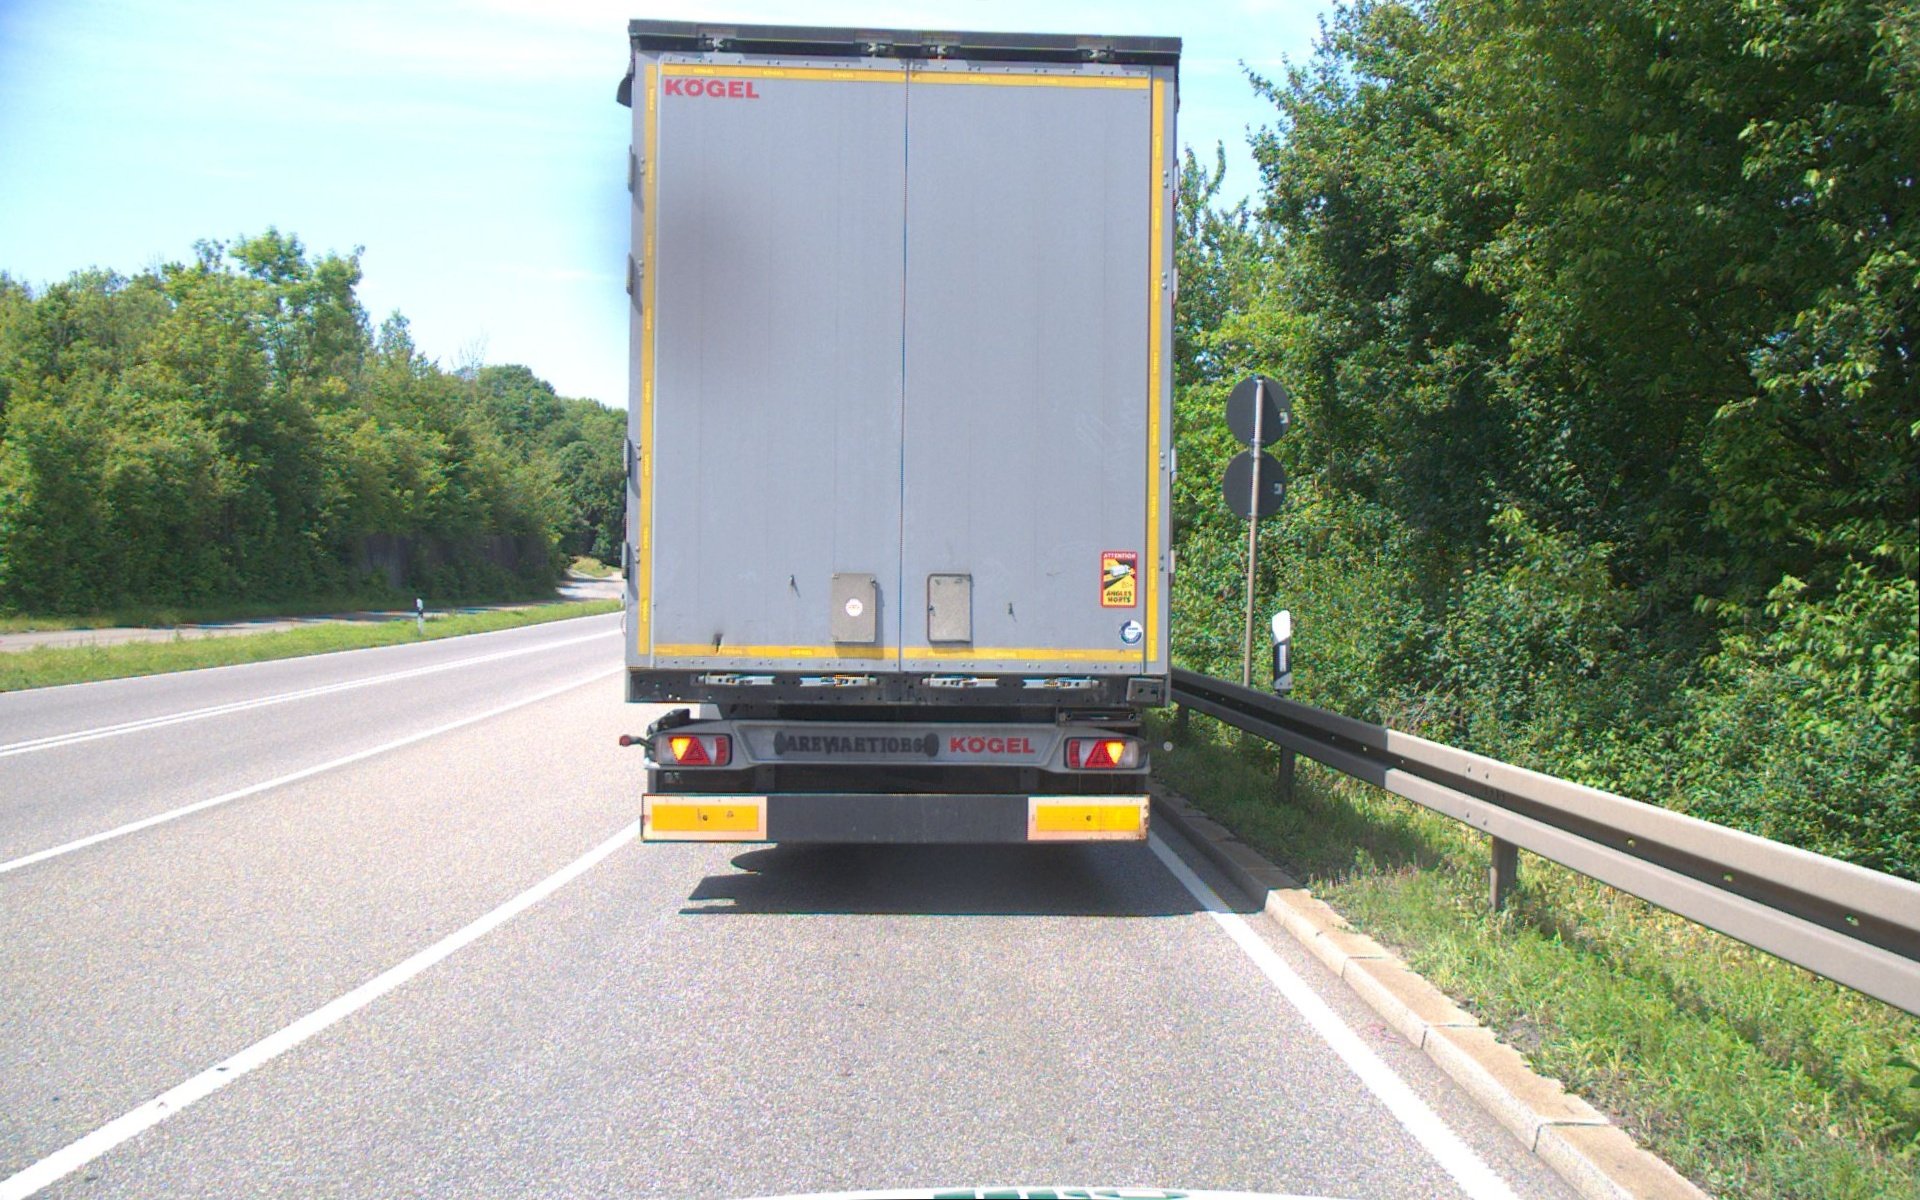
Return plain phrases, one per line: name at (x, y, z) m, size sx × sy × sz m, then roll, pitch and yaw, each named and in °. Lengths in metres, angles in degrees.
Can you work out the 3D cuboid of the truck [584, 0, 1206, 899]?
truck at (-0.435, -0.777, 13.268) m, size 2.701 × 4.100 × 11.920 m, roll 1°, pitch 0°, yaw -2°
